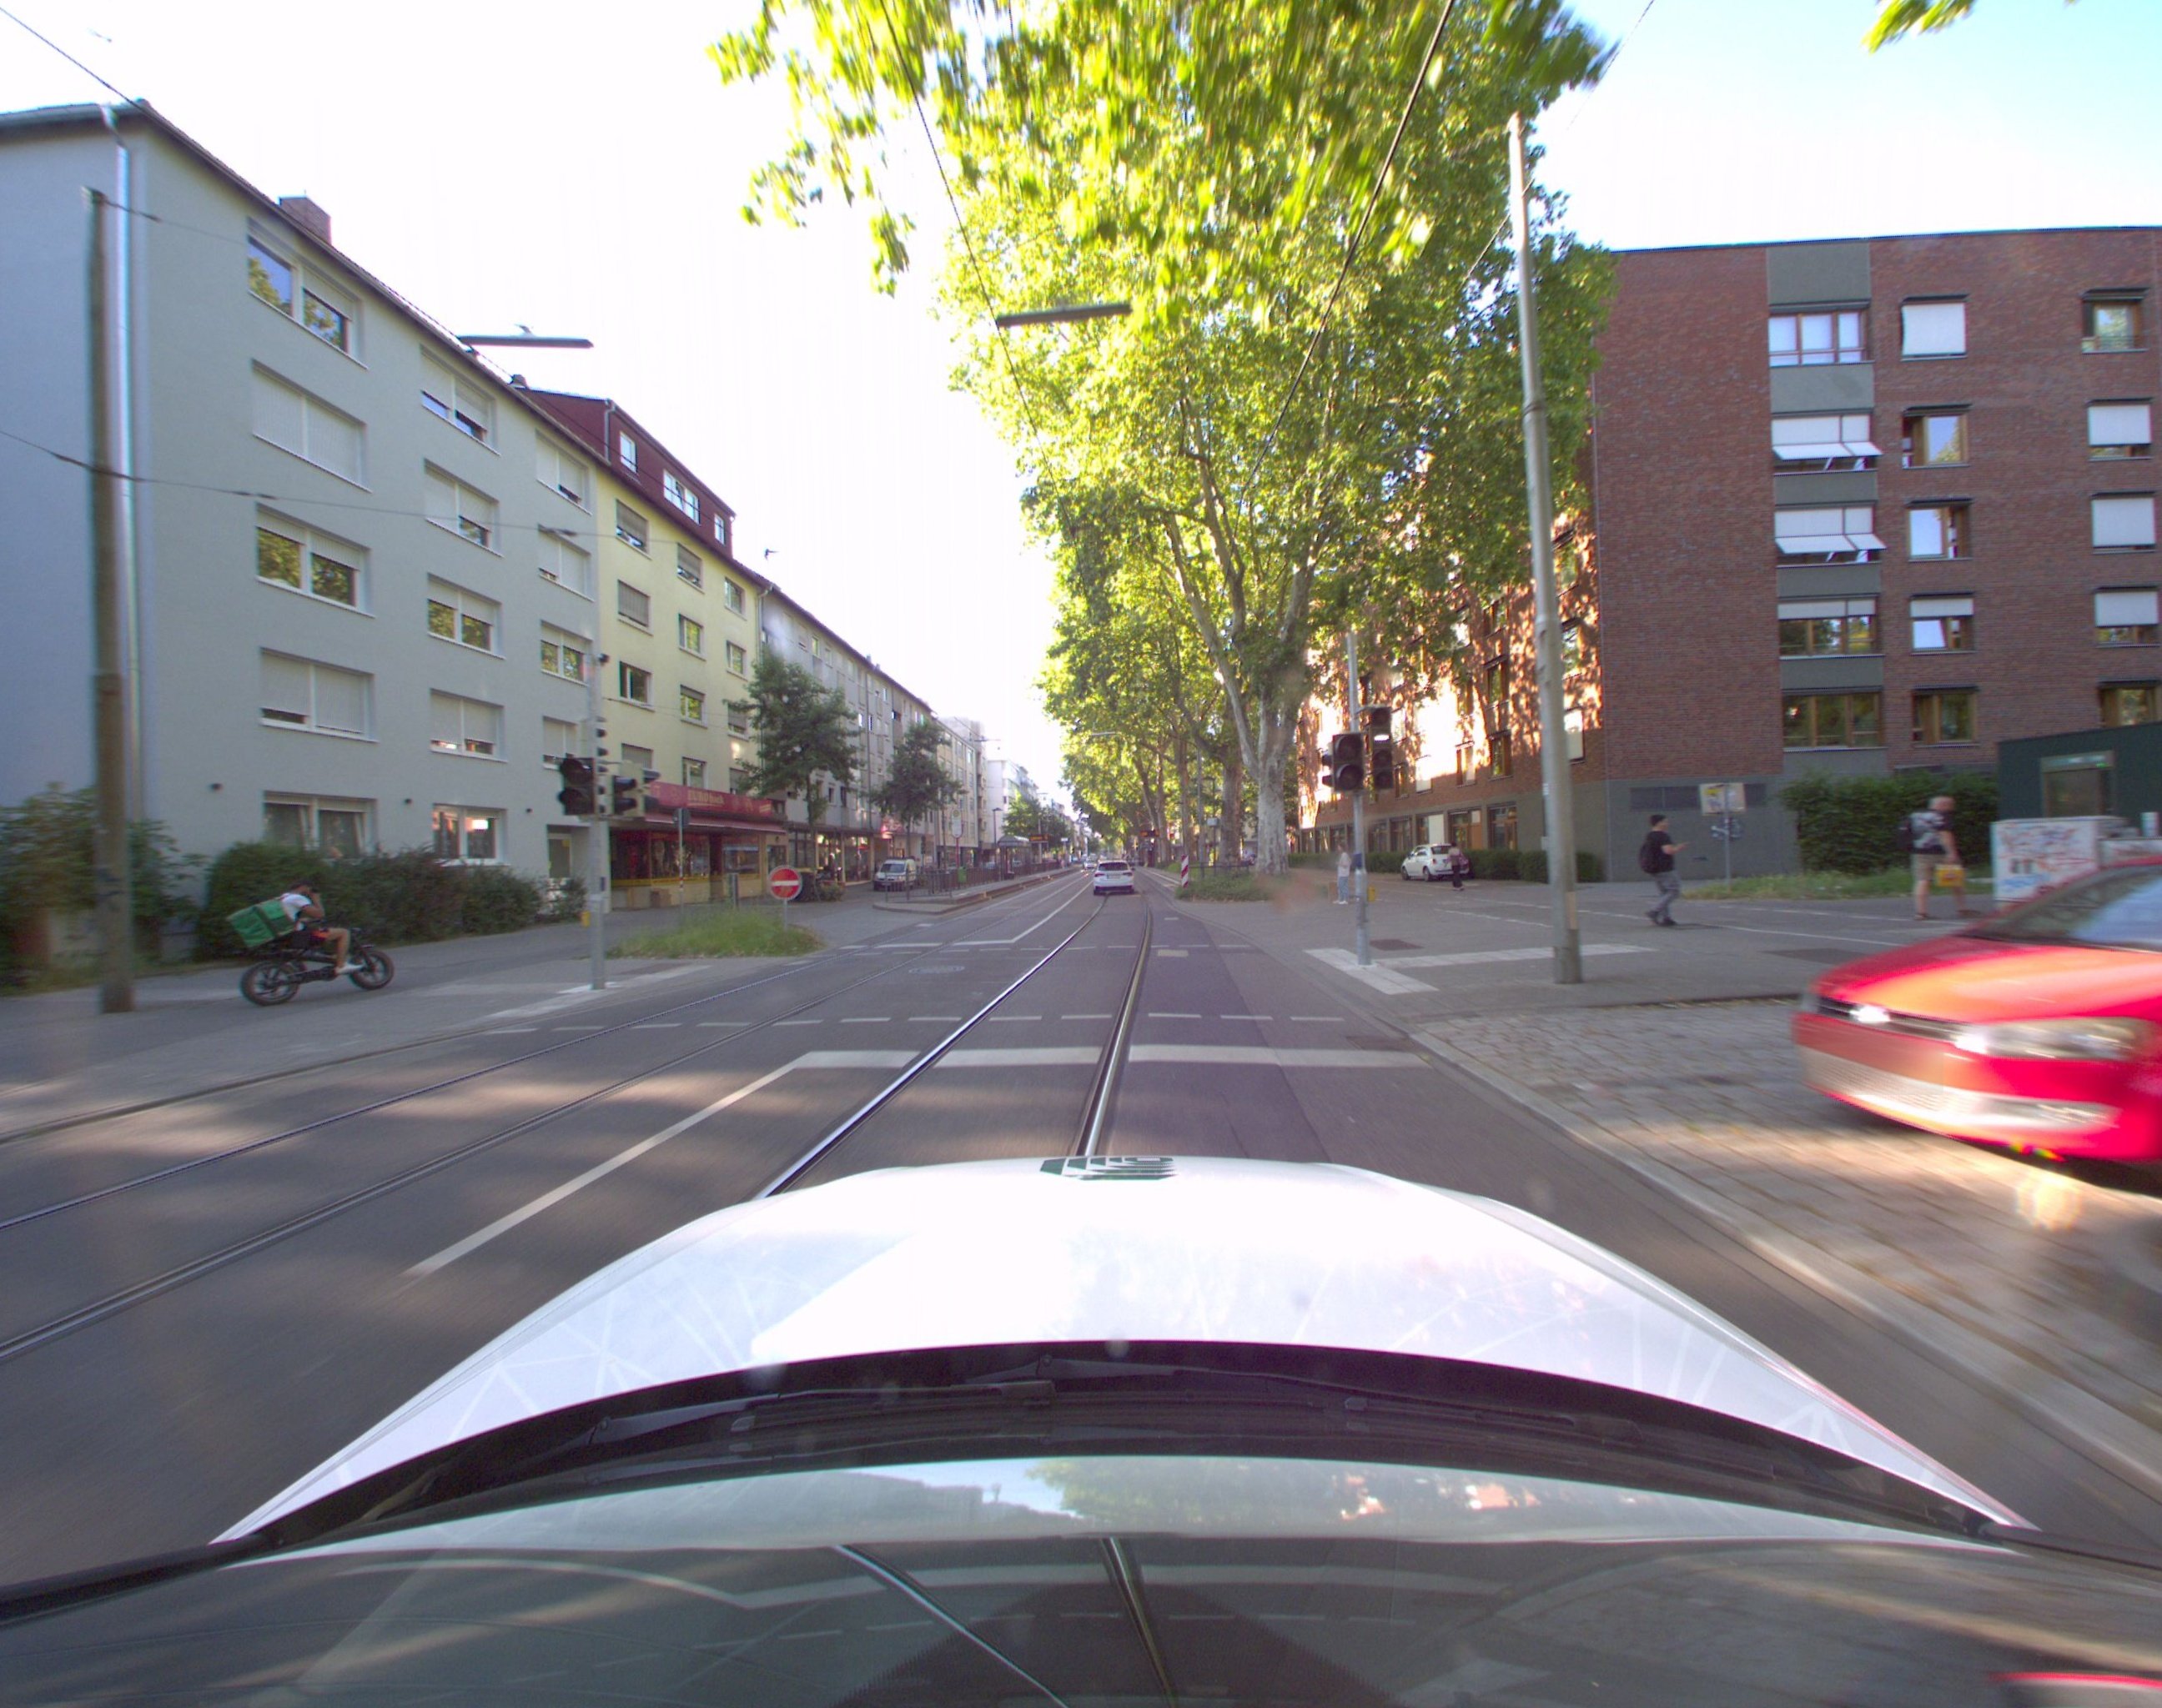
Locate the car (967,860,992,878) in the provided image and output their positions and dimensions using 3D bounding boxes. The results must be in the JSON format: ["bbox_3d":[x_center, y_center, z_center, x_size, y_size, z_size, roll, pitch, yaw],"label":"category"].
[{"bbox_3d":[-9.293,1.333,74.649,1.587,1.548,4.002,0,0,2],"label":"car"}]

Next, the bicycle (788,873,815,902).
[{"bbox_3d":[-11.709,1.392,34.191,0.497,1.107,1.800,2,0,0],"label":"bicycle"}]

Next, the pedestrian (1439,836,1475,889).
[{"bbox_3d":[12.185,0.273,26.381,0.733,1.669,0.835,-2,0,2],"label":"pedestrian"}]

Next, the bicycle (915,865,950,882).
[{"bbox_3d":[-10.200,1.352,56.066,2.243,1.074,0.637,1,0,3],"label":"bicycle"}]

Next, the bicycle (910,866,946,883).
[{"bbox_3d":[-10.276,1.356,54.838,2.243,1.074,0.637,1,0,3],"label":"bicycle"}]

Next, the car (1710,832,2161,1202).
[{"bbox_3d":[5.670,0.603,3.929,3.866,1.423,1.651,-2,0,5],"label":"car"}]

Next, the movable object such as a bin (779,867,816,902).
[{"bbox_3d":[-11.402,1.238,32.780,1.167,1.348,0.782,2,-1,-2],"label":"movable object such as a bin"}]

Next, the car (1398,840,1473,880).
[{"bbox_3d":[14.381,0.238,33.250,1.595,1.495,3.417,-2,0,1],"label":"car"}]

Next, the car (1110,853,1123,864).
[{"bbox_3d":[4.902,0.588,113.356,1.781,1.513,4.002,-2,0,2],"label":"car"}]

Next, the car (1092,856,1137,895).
[{"bbox_3d":[1.437,0.867,34.886,1.781,1.513,4.002,-2,0,2],"label":"car"}]

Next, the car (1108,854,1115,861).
[{"bbox_3d":[8.787,1.043,234.265,1.859,1.892,4.002,-2,0,2],"label":"car"}]

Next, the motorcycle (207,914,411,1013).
[{"bbox_3d":[-10.028,1.376,10.689,0.590,1.032,1.885,-2,0,17],"label":"motorcycle"}]

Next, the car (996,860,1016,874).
[{"bbox_3d":[-8.379,1.424,90.824,1.671,1.548,4.002,0,0,2],"label":"car"}]

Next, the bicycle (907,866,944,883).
[{"bbox_3d":[-10.230,1.359,53.631,2.243,1.074,0.637,1,0,3],"label":"bicycle"}]

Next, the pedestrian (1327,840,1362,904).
[{"bbox_3d":[7.113,0.474,22.000,0.650,1.669,0.738,-2,0,2],"label":"pedestrian"}]

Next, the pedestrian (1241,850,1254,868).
[{"bbox_3d":[15.266,0.423,74.626,0.968,1.623,0.888,-2,0,2],"label":"pedestrian"}]

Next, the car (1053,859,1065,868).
[{"bbox_3d":[-3.689,1.558,136.927,1.671,1.548,4.002,0,0,2],"label":"car"}]

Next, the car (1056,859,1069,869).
[{"bbox_3d":[-2.792,1.508,125.142,1.671,1.548,4.002,0,0,2],"label":"car"}]

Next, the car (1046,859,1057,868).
[{"bbox_3d":[-5.205,1.653,144.736,1.671,1.548,4.002,0,0,2],"label":"car"}]

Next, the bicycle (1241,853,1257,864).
[{"bbox_3d":[17.212,0.493,83.360,1.552,1.037,0.482,-2,0,23],"label":"bicycle"}]

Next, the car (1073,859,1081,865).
[{"bbox_3d":[-1.124,2.148,221.248,1.781,1.513,4.002,-2,0,2],"label":"car"}]

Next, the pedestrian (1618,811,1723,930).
[{"bbox_3d":[9.472,0.250,13.123,0.992,1.811,0.863,-2,0,-3],"label":"pedestrian"}]

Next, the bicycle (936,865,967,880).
[{"bbox_3d":[-9.958,1.397,62.477,2.243,1.074,0.637,1,0,3],"label":"bicycle"}]

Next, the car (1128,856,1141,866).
[{"bbox_3d":[8.623,1.140,131.750,1.986,1.453,4.002,-2,0,2],"label":"car"}]

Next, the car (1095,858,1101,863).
[{"bbox_3d":[5.472,2.144,260.361,1.781,1.513,4.002,-2,0,2],"label":"car"}]

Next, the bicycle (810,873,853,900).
[{"bbox_3d":[-10.660,1.397,34.829,1.528,1.075,0.886,1,0,1],"label":"bicycle"}]

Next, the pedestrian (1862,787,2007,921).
[{"bbox_3d":[12.910,0.002,12.361,0.980,1.863,1.015,-6,0,-3],"label":"pedestrian"}]

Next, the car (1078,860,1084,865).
[{"bbox_3d":[-0.082,2.771,256.335,1.781,1.513,4.002,-2,0,2],"label":"car"}]

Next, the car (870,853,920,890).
[{"bbox_3d":[-10.444,0.956,45.979,1.681,1.940,4.002,-2,0,2],"label":"car"}]

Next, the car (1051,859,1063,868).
[{"bbox_3d":[-3.889,1.538,132.735,1.671,1.548,4.002,0,0,2],"label":"car"}]

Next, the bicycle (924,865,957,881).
[{"bbox_3d":[-10.213,1.371,59.080,2.243,1.074,0.637,1,0,3],"label":"bicycle"}]

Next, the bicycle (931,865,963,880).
[{"bbox_3d":[-9.987,1.389,60.905,2.243,1.074,0.637,1,0,3],"label":"bicycle"}]

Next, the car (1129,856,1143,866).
[{"bbox_3d":[8.588,1.110,126.659,1.986,1.453,4.002,-2,0,2],"label":"car"}]

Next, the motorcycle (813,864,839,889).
[{"bbox_3d":[-14.106,1.225,45.049,0.596,1.311,2.223,-2,0,2],"label":"motorcycle"}]

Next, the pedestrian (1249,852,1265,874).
[{"bbox_3d":[13.598,0.695,62.984,0.968,1.623,0.888,-2,0,2],"label":"pedestrian"}]

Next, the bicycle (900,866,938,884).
[{"bbox_3d":[-10.347,1.340,51.985,2.243,1.074,0.637,1,0,3],"label":"bicycle"}]

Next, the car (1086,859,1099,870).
[{"bbox_3d":[1.599,1.424,112.507,1.687,1.419,4.002,-2,0,2],"label":"car"}]

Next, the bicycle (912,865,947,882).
[{"bbox_3d":[-10.287,1.333,55.429,2.243,1.074,0.637,1,0,3],"label":"bicycle"}]

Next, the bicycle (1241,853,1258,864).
[{"bbox_3d":[17.418,0.492,84.270,1.552,1.037,0.507,-2,0,23],"label":"bicycle"}]

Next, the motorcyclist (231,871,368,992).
[{"bbox_3d":[-10.083,0.958,10.542,0.590,1.449,1.109,-2,0,16],"label":"motorcyclist"}]

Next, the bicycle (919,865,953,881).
[{"bbox_3d":[-10.207,1.357,57.332,2.243,1.074,0.637,1,0,3],"label":"bicycle"}]
